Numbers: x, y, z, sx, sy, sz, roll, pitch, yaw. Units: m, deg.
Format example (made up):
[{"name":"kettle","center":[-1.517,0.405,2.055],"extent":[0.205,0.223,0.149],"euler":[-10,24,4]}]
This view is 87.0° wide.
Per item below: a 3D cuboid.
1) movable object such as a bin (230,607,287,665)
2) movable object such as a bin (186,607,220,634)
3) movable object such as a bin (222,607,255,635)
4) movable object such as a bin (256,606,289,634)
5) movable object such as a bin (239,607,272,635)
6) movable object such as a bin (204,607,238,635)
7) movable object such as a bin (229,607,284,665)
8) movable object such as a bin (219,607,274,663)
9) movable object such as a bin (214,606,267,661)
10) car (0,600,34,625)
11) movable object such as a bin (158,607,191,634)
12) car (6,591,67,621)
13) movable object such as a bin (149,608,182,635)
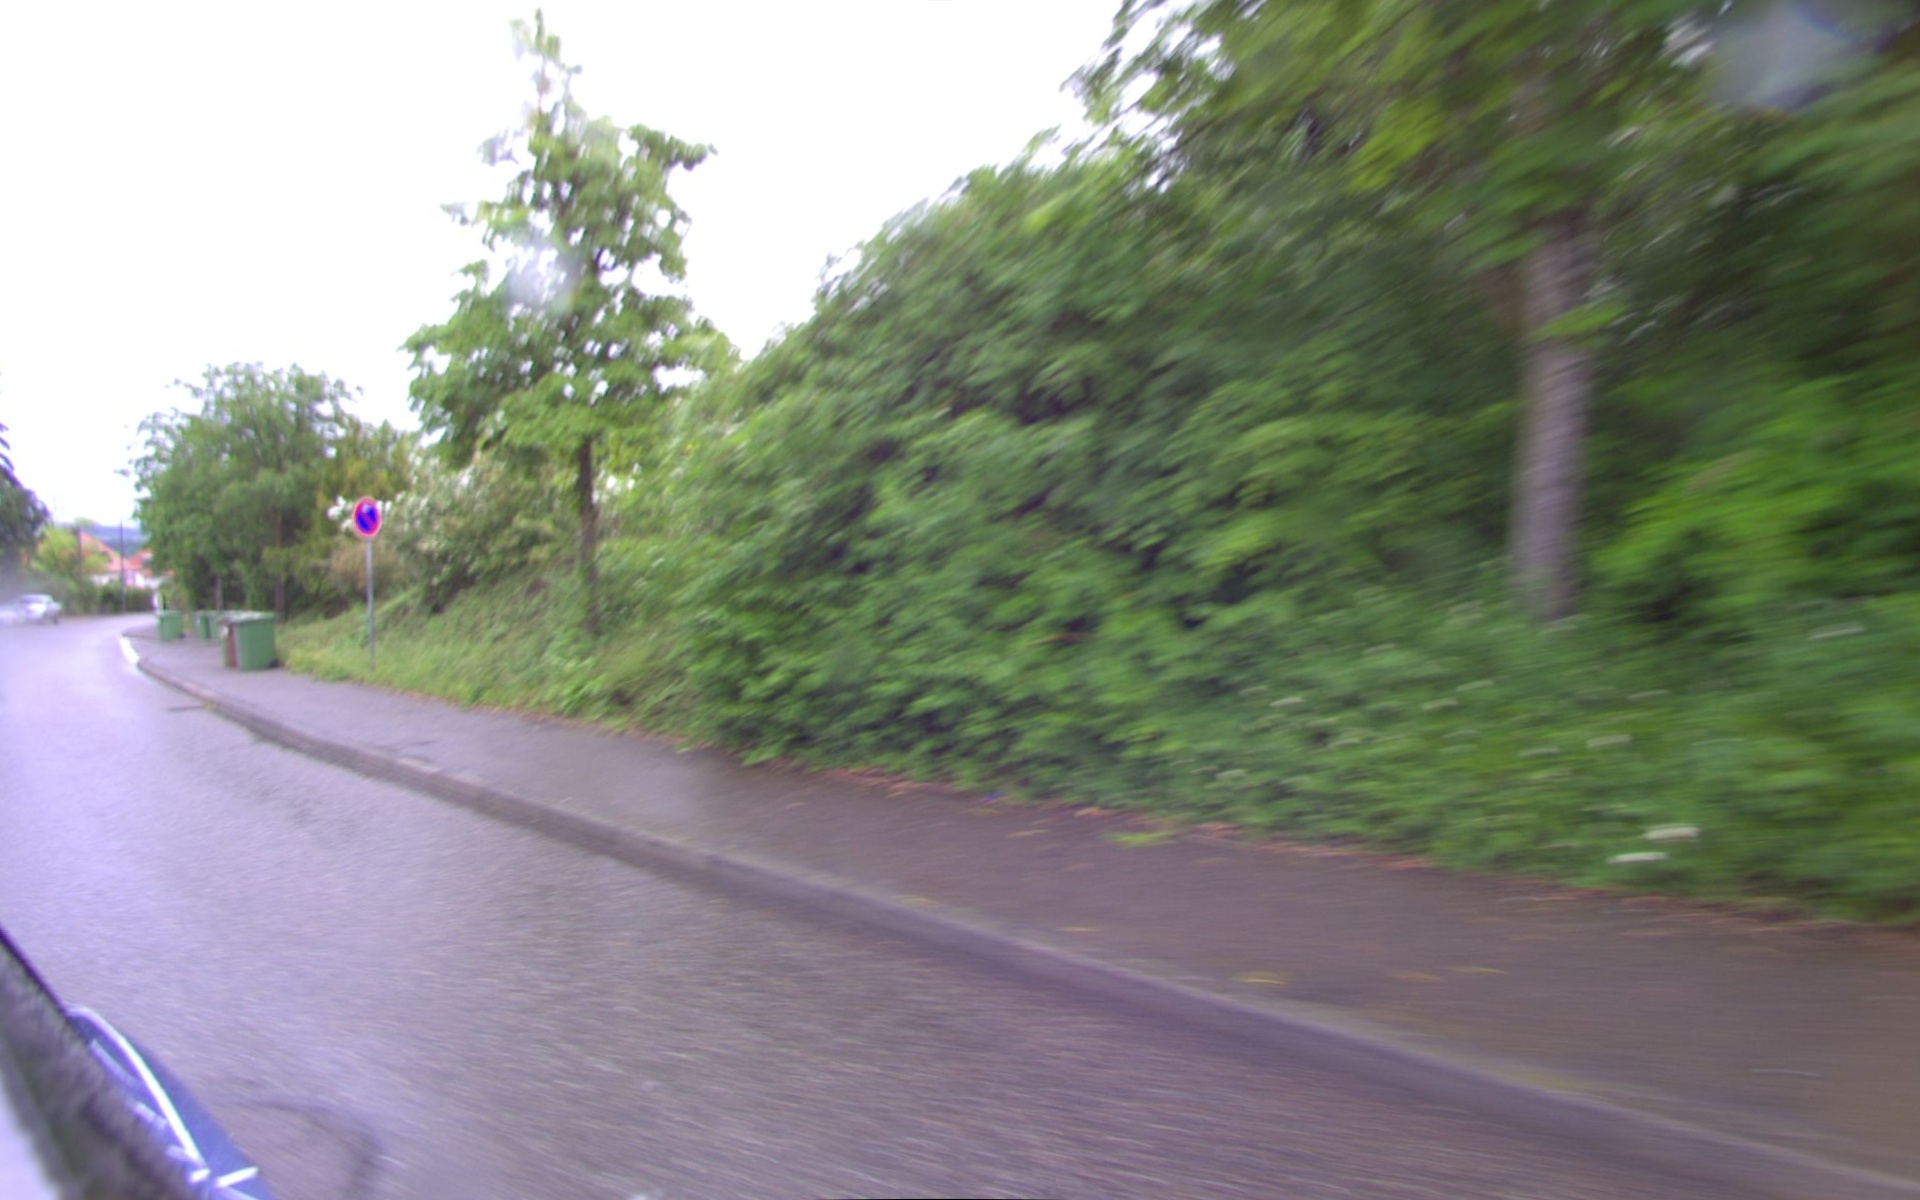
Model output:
[{"name":"movable object such as a bin","center":[-13.462,0.677,19.417],"extent":[0.690,1.076,0.760],"euler":[-1,-1,41]},{"name":"movable object such as a bin","center":[-30.079,0.804,40.240],"extent":[0.710,1.035,0.779],"euler":[-1,2,4]},{"name":"movable object such as a bin","center":[-28.619,0.826,40.134],"extent":[0.710,1.035,0.779],"euler":[-1,2,4]},{"name":"movable object such as a bin","center":[-27.163,0.796,40.013],"extent":[0.710,1.035,0.779],"euler":[-1,2,4]},{"name":"movable object such as a bin","center":[-27.883,0.824,40.077],"extent":[0.710,1.035,0.779],"euler":[-1,2,4]},{"name":"movable object such as a bin","center":[-29.342,0.844,40.190],"extent":[0.710,1.035,0.779],"euler":[-1,2,4]},{"name":"movable object such as a bin","center":[-13.887,0.695,19.985],"extent":[0.671,1.105,0.760],"euler":[-1,-1,41]},{"name":"movable object such as a bin","center":[-14.442,0.700,20.496],"extent":[0.738,1.105,0.760],"euler":[-1,-1,41]},{"name":"movable object such as a bin","center":[-14.970,0.681,21.053],"extent":[0.738,1.105,0.760],"euler":[-1,-1,41]},{"name":"car","center":[-56.197,0.711,59.563],"extent":[1.725,1.434,4.012],"euler":[0,0,-31]},{"name":"movable object such as a bin","center":[-31.484,0.808,40.543],"extent":[0.716,1.035,0.773],"euler":[-1,2,26]},{"name":"car","center":[-58.867,0.395,64.618],"extent":[1.839,1.832,4.877],"euler":[0,0,-30]},{"name":"movable object such as a bin","center":[-32.118,0.875,40.923],"extent":[0.716,1.035,0.773],"euler":[-1,2,26]}]
